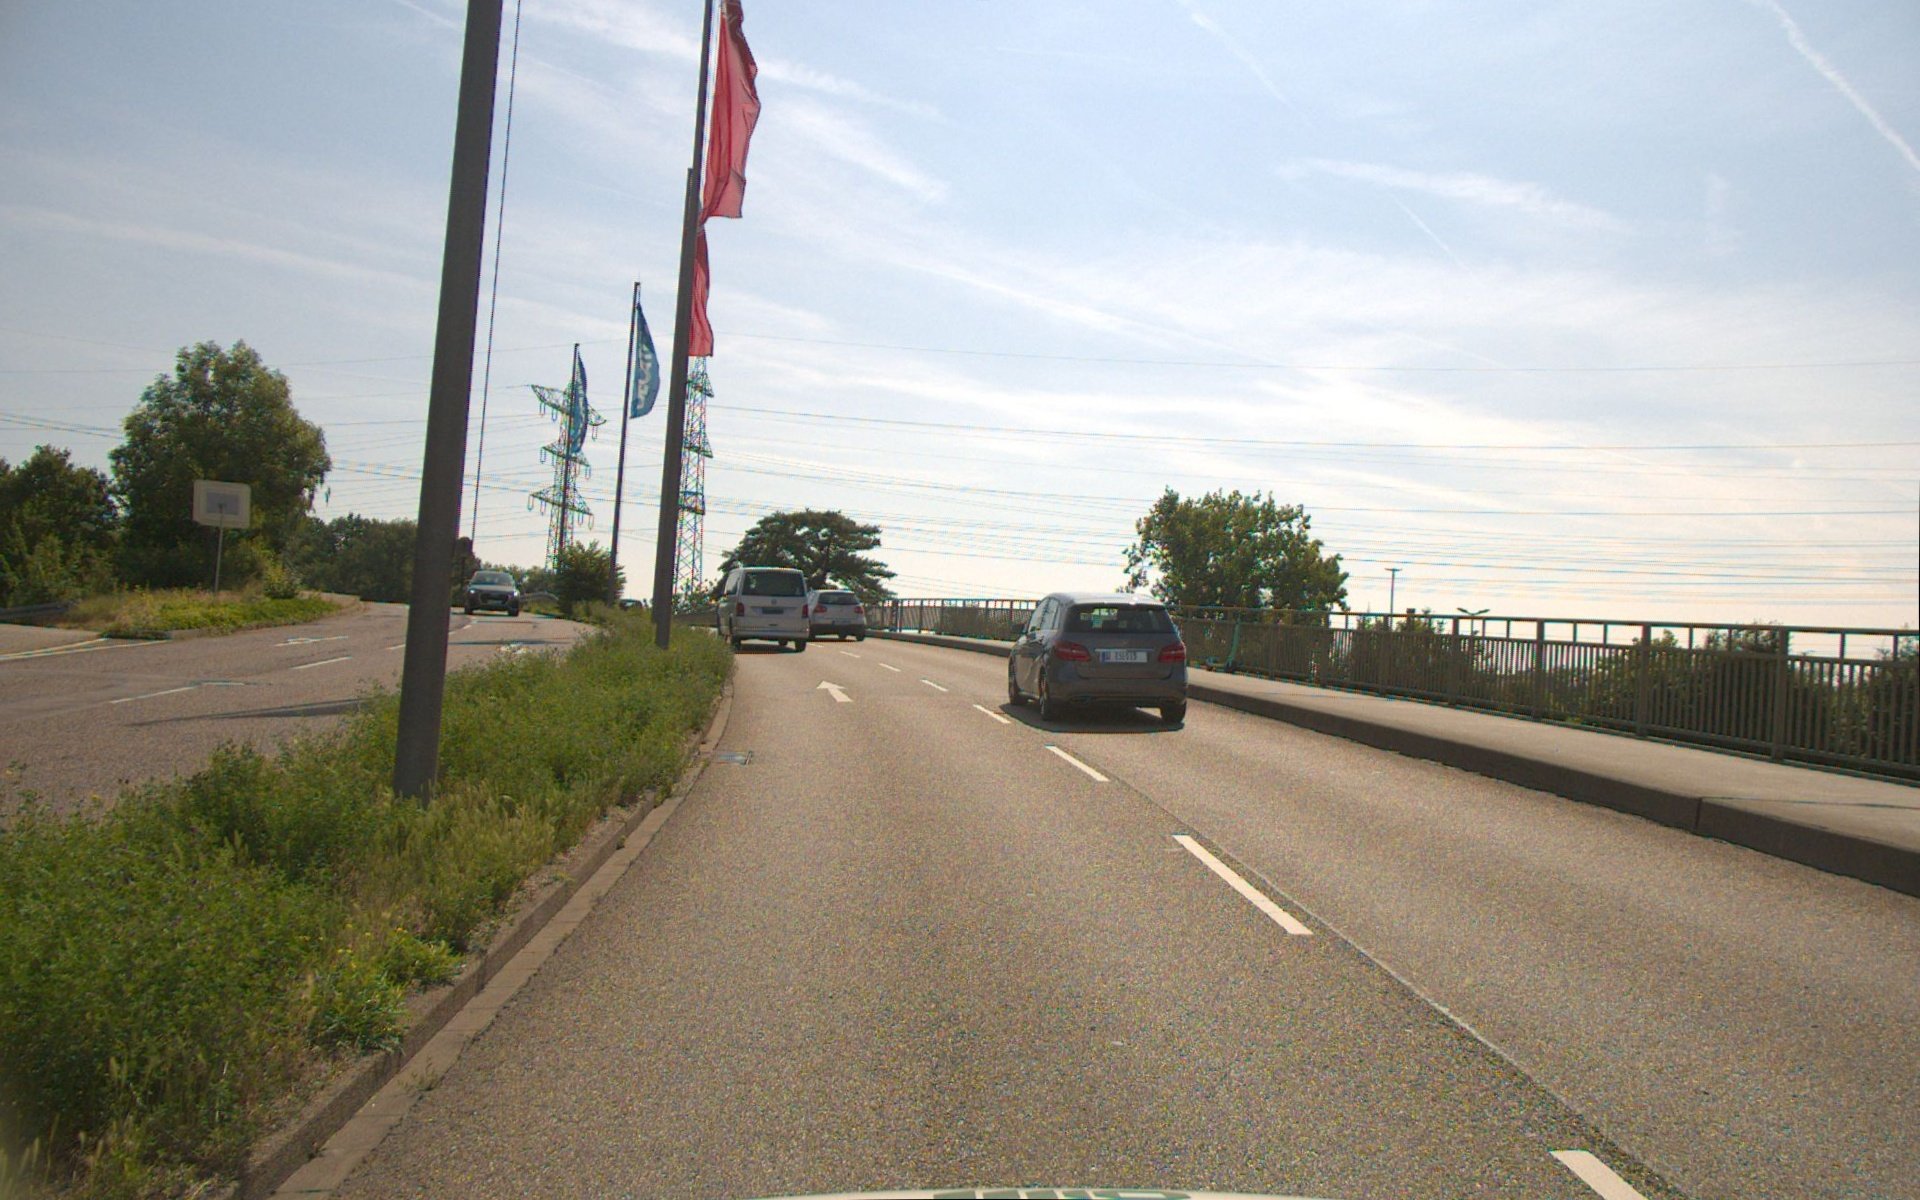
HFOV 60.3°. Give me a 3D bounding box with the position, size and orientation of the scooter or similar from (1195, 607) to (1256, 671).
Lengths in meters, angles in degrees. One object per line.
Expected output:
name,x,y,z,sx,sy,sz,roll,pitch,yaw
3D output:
scooter or similar,5.109,0.738,31.879,0.503,1.162,1.475,4,-1,-17

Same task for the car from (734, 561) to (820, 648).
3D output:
car,-4.561,0.110,40.985,2.000,2.049,3.993,0,0,-7

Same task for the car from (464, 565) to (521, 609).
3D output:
car,-16.806,-0.483,59.333,1.756,1.510,4.237,1,1,-19

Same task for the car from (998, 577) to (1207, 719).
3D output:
car,1.716,0.607,21.264,1.821,1.556,4.137,3,-2,-7

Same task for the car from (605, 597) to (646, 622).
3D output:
car,-18.274,0.500,90.237,1.747,1.355,3.720,0,0,-19

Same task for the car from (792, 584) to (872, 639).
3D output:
car,-3.929,0.333,50.108,1.824,1.556,4.130,1,0,-13
